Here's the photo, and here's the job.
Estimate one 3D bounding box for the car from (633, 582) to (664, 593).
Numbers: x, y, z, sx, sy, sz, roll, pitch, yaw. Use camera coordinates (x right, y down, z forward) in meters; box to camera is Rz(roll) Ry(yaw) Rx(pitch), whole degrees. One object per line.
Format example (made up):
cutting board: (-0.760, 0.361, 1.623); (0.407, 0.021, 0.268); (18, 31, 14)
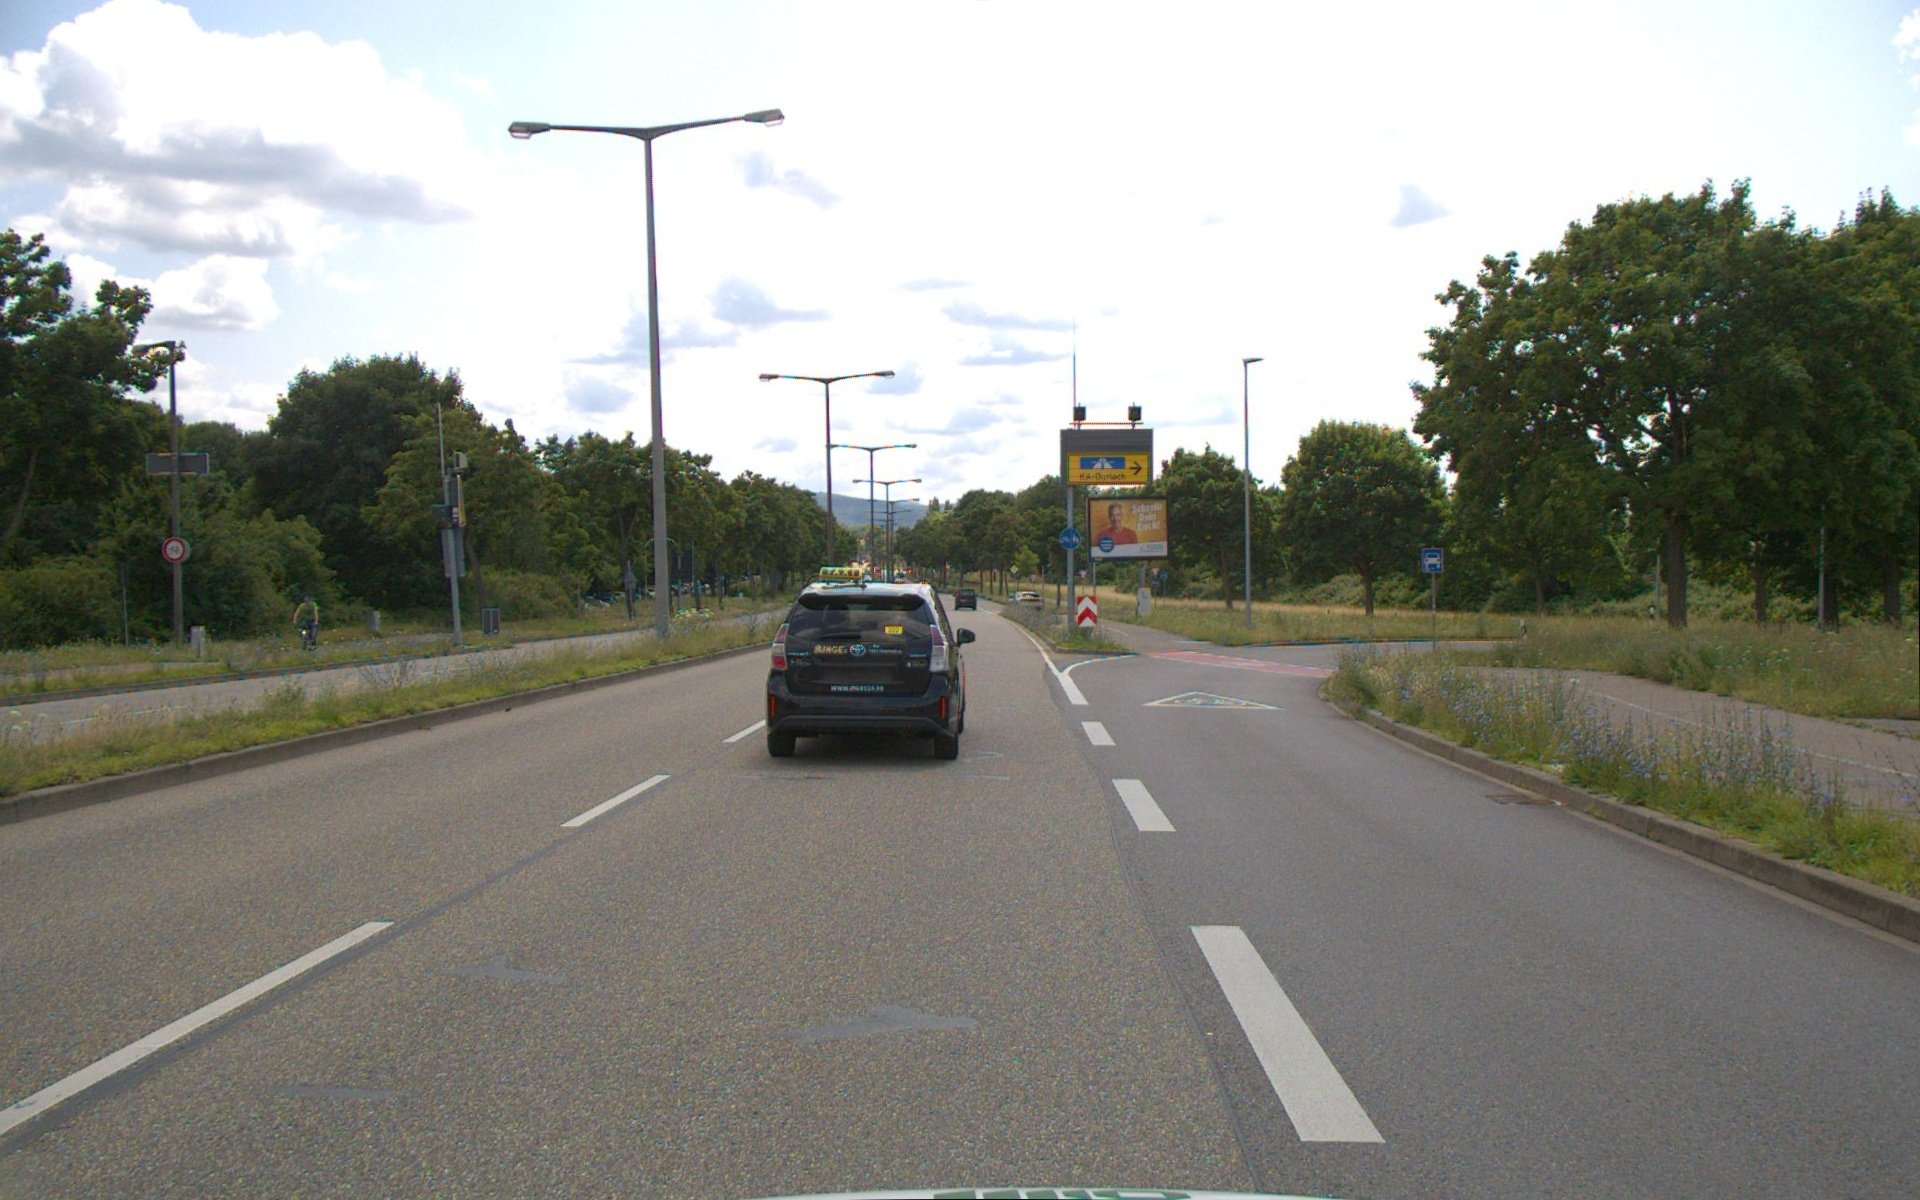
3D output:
car: (-41.787, -1.707, 221.896); (3.707, 1.412, 1.786); (1, 1, 1)

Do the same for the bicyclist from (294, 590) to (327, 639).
bicyclist: (-17.851, 0.384, 45.473); (0.510, 1.294, 1.107); (1, 1, -2)

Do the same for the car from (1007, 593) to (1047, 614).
car: (5.199, 0.281, 129.116); (1.961, 1.534, 3.983); (0, 1, -16)

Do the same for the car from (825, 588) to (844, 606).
car: (-14.065, -0.327, 185.066); (1.839, 1.821, 4.727); (-3, 0, -2)

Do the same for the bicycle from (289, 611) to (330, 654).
bicycle: (-17.856, 0.881, 45.420); (0.423, 1.087, 1.907); (1, 1, -2)

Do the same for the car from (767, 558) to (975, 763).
car: (-0.831, 0.466, 16.024); (1.744, 1.713, 3.999); (1, 1, -2)

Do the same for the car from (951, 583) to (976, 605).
car: (0.306, -0.516, 137.775); (1.953, 1.691, 3.999); (1, 1, -2)
